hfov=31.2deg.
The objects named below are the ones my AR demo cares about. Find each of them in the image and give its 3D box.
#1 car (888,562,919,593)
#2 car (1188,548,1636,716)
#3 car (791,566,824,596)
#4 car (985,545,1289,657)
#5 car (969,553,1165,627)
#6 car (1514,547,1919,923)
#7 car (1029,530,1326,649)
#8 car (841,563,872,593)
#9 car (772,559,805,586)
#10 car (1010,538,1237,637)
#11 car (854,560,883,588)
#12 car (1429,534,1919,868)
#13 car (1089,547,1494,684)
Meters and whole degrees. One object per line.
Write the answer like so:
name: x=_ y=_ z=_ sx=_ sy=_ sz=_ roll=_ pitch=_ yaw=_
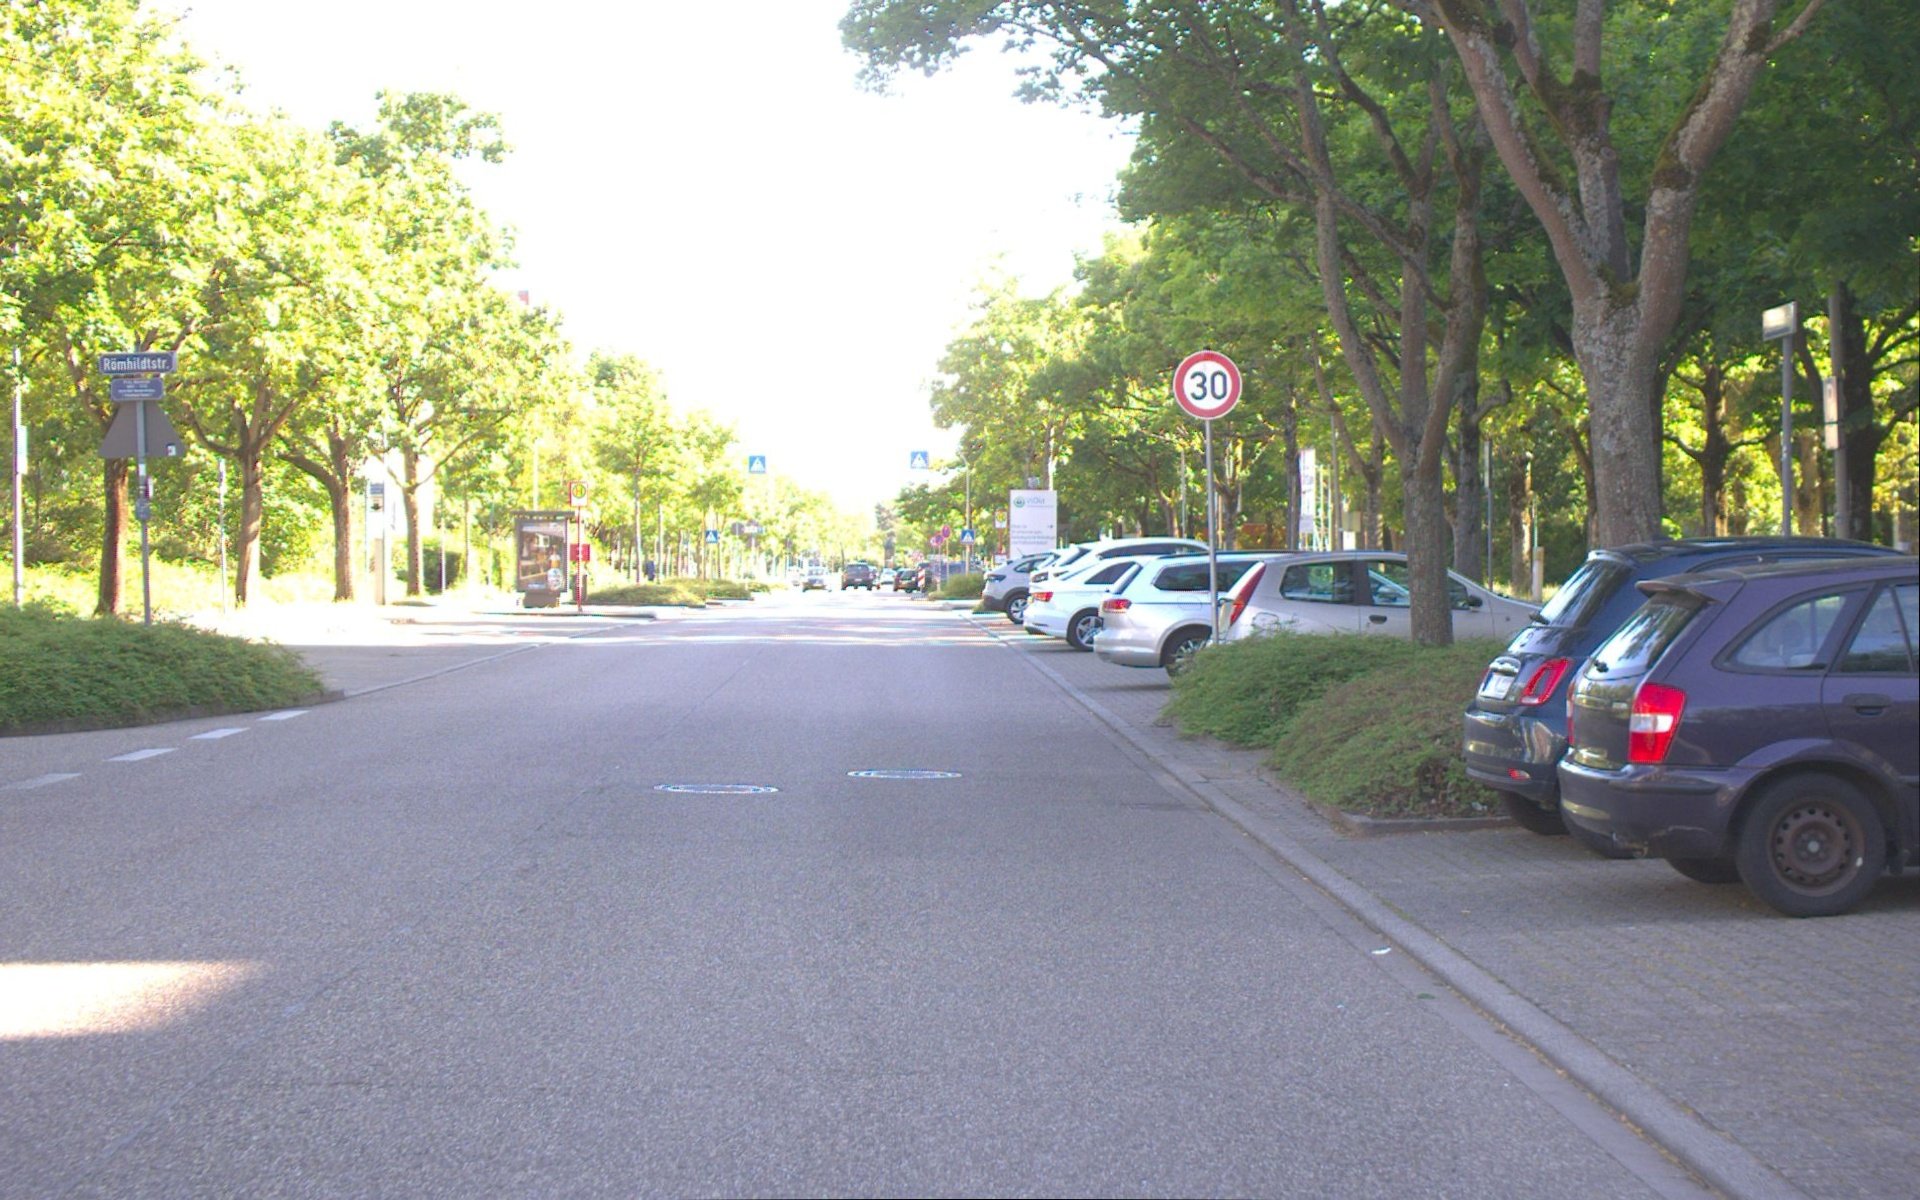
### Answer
car: x=-3.780 y=-1.489 z=228.835 sx=1.993 sy=2.007 sz=4.000 roll=1 pitch=1 yaw=-1
car: x=4.243 y=0.279 z=32.704 sx=3.987 sy=1.446 sz=1.717 roll=-2 pitch=1 yaw=-1
car: x=-9.053 y=-1.151 z=204.863 sx=1.828 sy=1.769 sz=3.740 roll=1 pitch=1 yaw=-1
car: x=2.614 y=0.001 z=51.410 sx=4.342 sy=1.484 sz=1.738 roll=-2 pitch=1 yaw=-3
car: x=2.326 y=-0.238 z=75.776 sx=4.164 sy=1.423 sz=2.000 roll=-3 pitch=1 yaw=-1
car: x=4.480 y=0.461 z=14.293 sx=3.987 sy=1.382 sz=1.822 roll=-3 pitch=1 yaw=-1
car: x=3.386 y=-0.183 z=54.120 sx=4.434 sy=1.642 sz=1.816 roll=-3 pitch=1 yaw=-3
car: x=-6.913 y=-1.479 z=229.432 sx=1.993 sy=2.007 sz=4.000 roll=1 pitch=1 yaw=-1
car: x=-11.520 y=-1.861 z=230.962 sx=1.993 sy=1.796 sz=4.000 roll=1 pitch=1 yaw=-1
car: x=2.773 y=-0.226 z=58.922 sx=3.688 sy=1.517 sz=1.651 roll=-2 pitch=1 yaw=-3
car: x=-6.589 y=-1.883 z=247.200 sx=1.993 sy=2.007 sz=4.000 roll=1 pitch=1 yaw=-1
car: x=4.409 y=0.434 z=17.075 sx=3.808 sy=1.494 sz=1.701 roll=-2 pitch=1 yaw=-4
car: x=3.577 y=0.155 z=37.493 sx=4.275 sy=1.423 sz=1.827 roll=1 pitch=0 yaw=4
